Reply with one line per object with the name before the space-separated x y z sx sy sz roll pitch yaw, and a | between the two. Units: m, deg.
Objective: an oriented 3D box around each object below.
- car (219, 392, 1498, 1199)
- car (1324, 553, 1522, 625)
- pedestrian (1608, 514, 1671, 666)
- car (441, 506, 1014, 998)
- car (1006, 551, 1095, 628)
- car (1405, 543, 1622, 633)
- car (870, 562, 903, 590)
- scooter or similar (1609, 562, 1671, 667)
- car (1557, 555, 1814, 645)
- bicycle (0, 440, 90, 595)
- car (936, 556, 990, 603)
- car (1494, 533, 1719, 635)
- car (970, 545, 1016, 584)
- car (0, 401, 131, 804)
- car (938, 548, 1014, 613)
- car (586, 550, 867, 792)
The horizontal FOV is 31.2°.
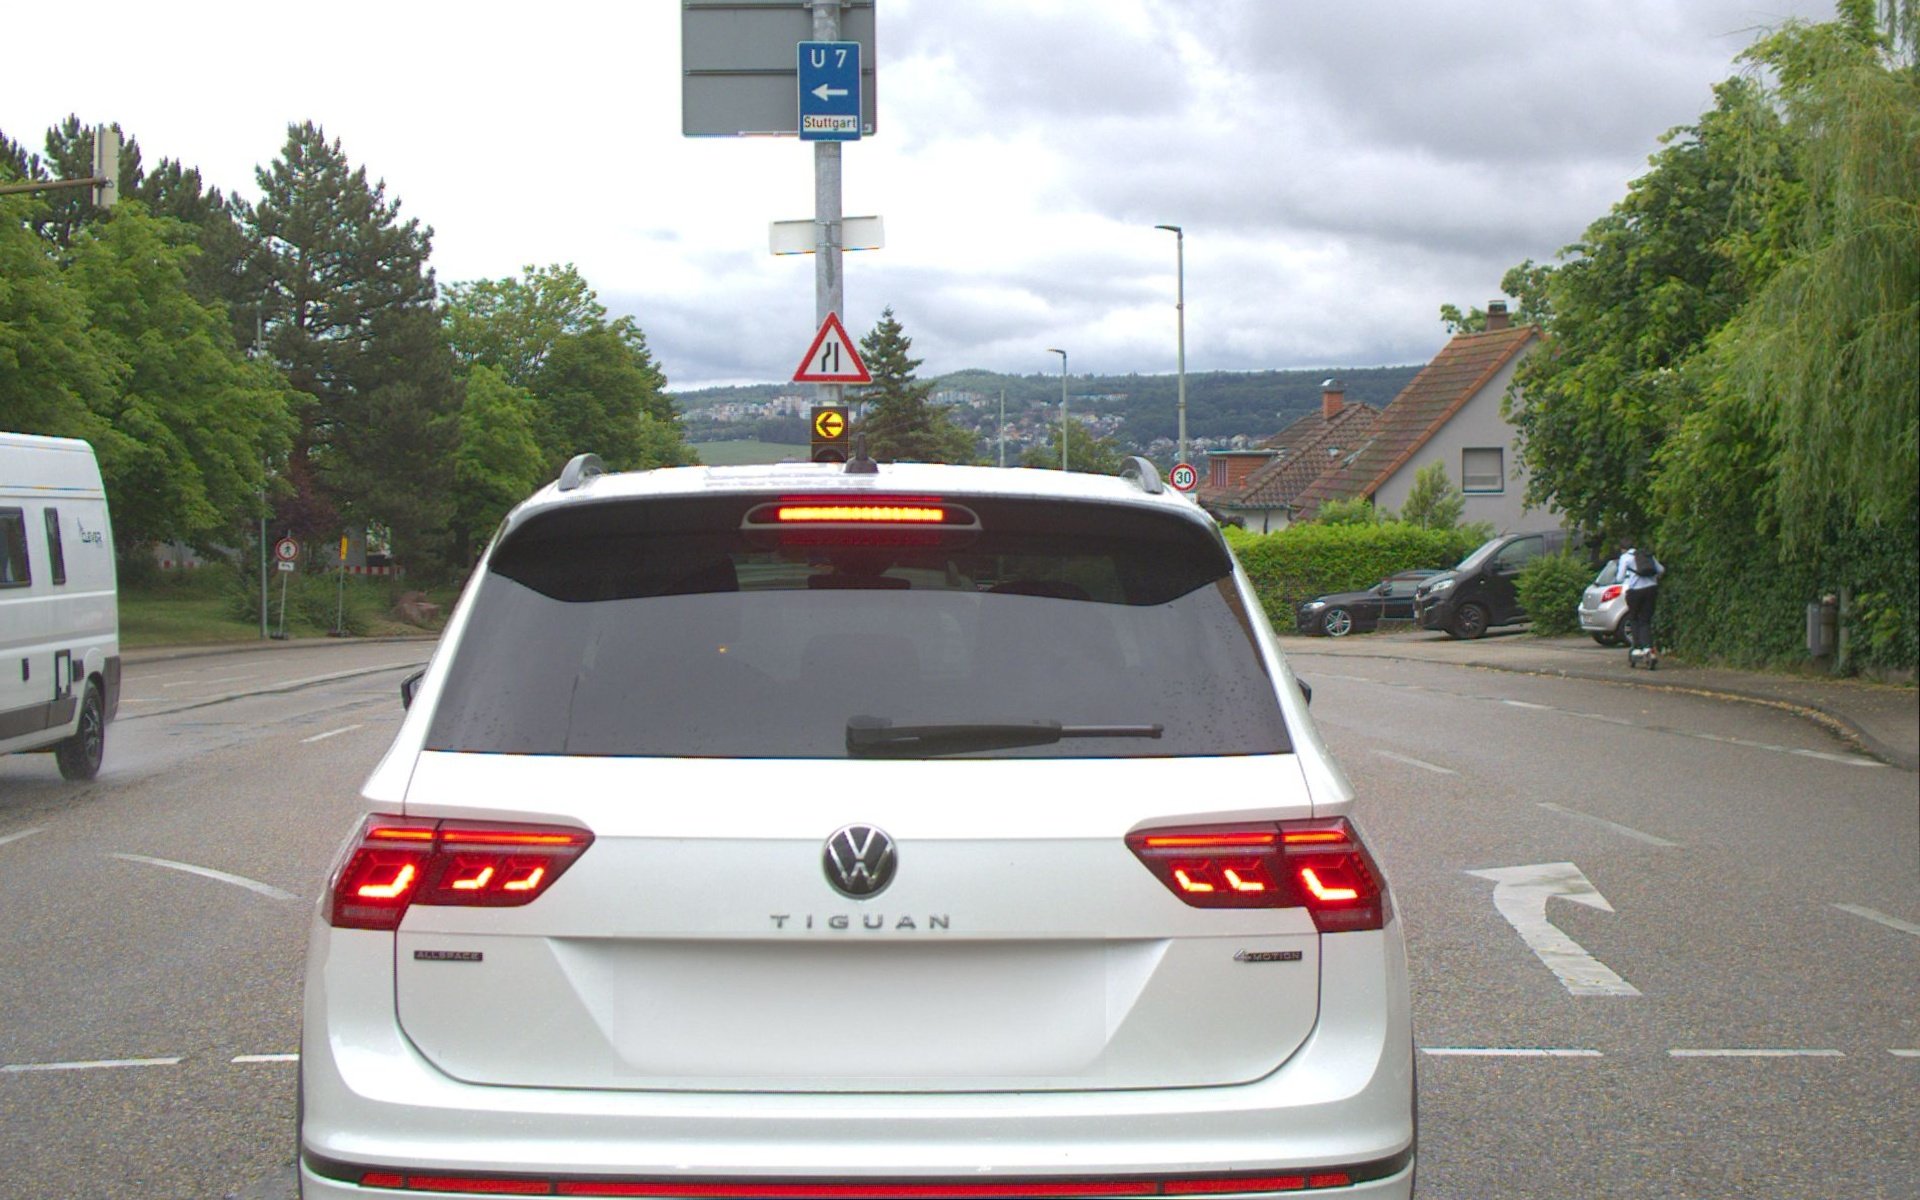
car | -0.203 0.544 6.966 1.763 1.690 4.273 2 1 -1
car | 9.201 -0.212 68.461 3.687 1.365 1.519 0 -1 -2
pedestrian | 8.991 -0.142 45.515 0.655 1.995 0.718 0 1 -4
car | -0.735 0.470 13.259 1.798 1.584 3.926 -1 1 2
car | 1.715 -0.232 66.391 1.625 1.398 3.690 1 1 0
car | 10.219 -0.232 63.604 3.627 1.620 1.791 0 0 -4
car | -4.264 -1.393 200.999 1.850 1.569 4.000 -1 1 0
scooter or similar | 8.973 0.184 45.410 0.461 1.356 1.385 0 1 -4
car | 11.775 0.000 55.900 3.713 1.390 1.729 -1 0 -7
bicycle | -7.358 -0.591 25.534 1.636 1.122 0.468 -2 2 -2
car | 0.088 -0.741 119.746 1.850 1.569 4.000 -1 1 0
car | 11.502 -0.301 61.299 3.627 1.740 1.708 -1 2 -4
car | 1.374 -1.513 145.208 1.850 1.569 4.000 -1 1 0
car | -7.182 0.003 22.423 2.297 2.519 5.774 -1 1 -2
car | 0.338 -0.477 79.175 1.664 1.422 4.305 -1 1 -1
car | -1.592 0.418 23.739 1.760 1.474 4.001 -1 1 -3
